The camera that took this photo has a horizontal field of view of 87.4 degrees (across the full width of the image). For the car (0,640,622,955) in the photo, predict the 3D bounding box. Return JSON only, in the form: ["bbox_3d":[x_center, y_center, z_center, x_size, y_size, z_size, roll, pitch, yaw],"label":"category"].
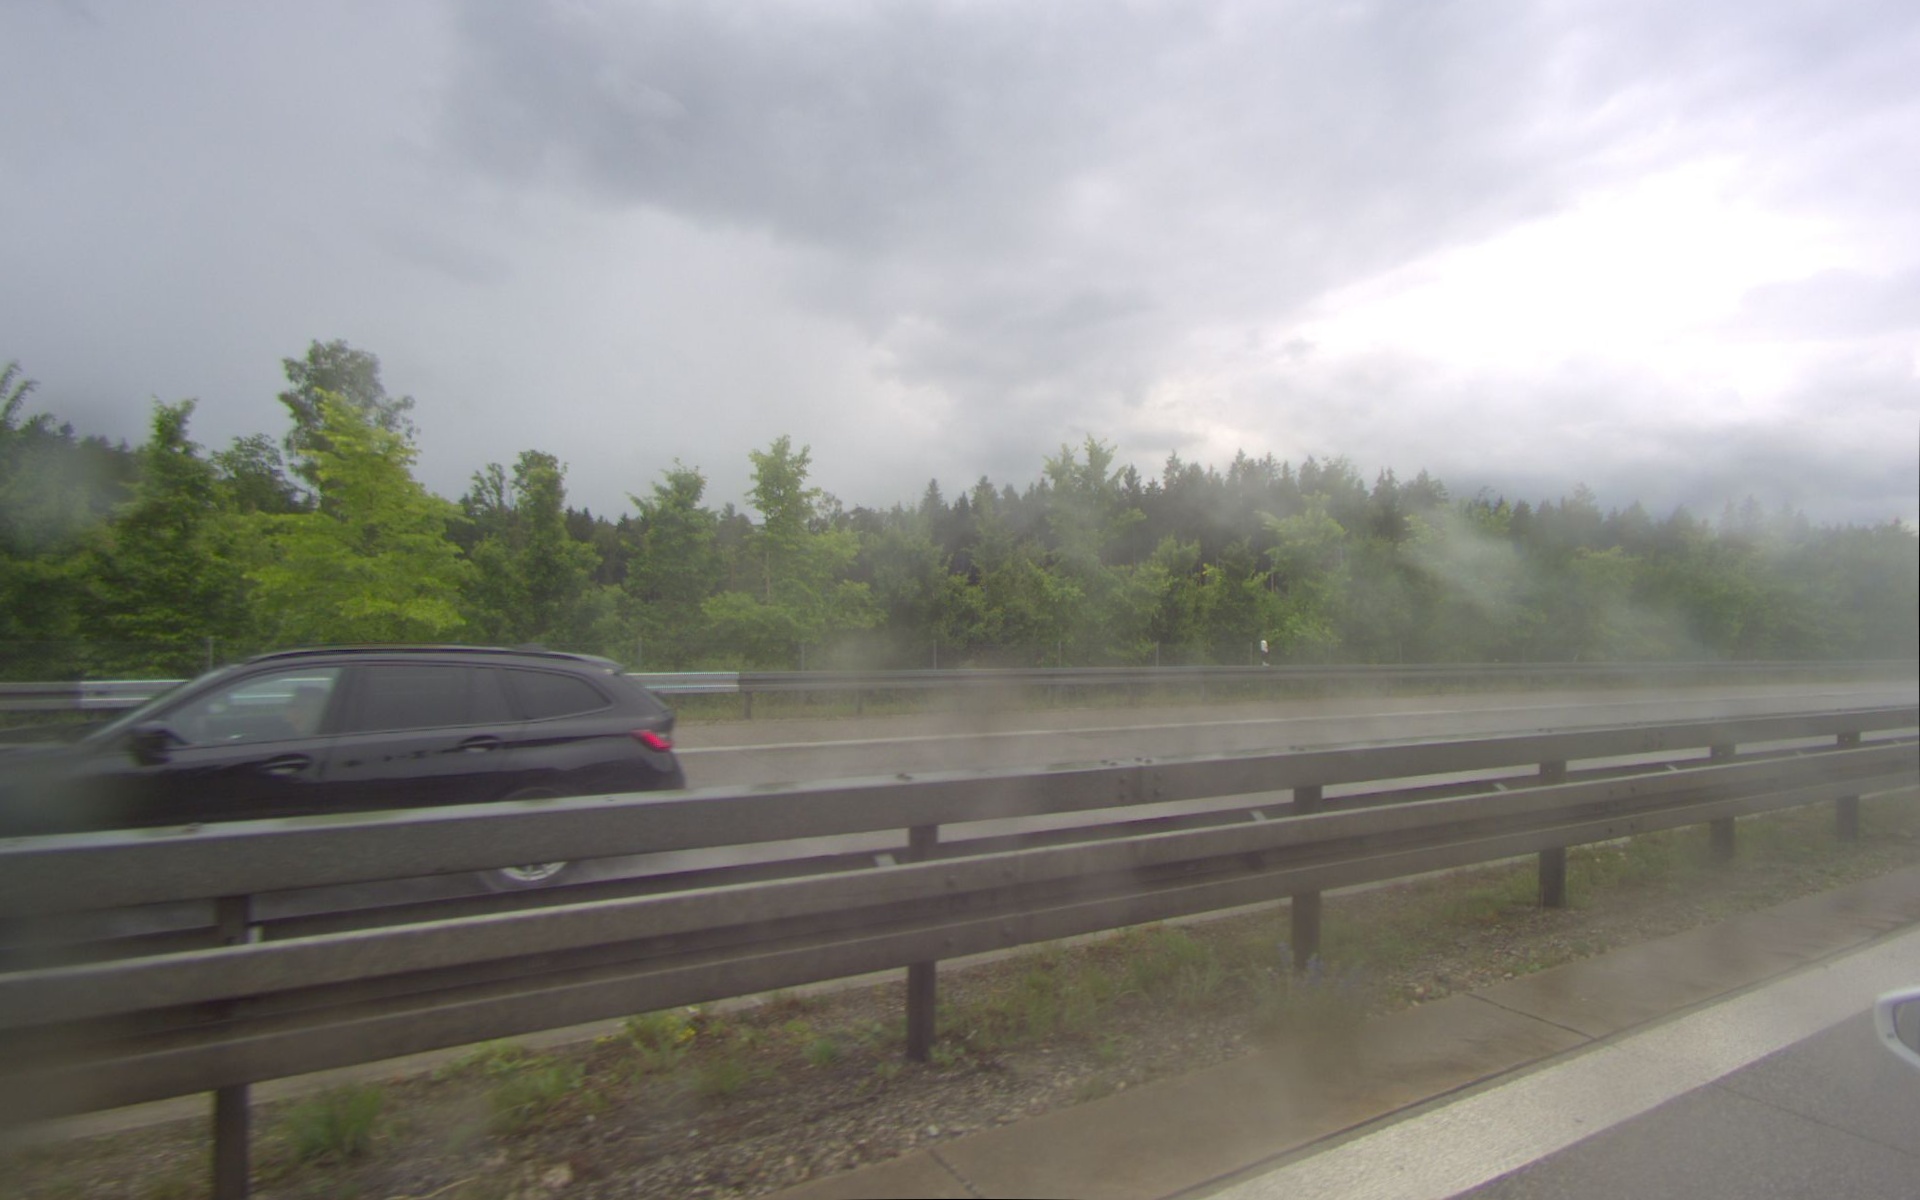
[{"bbox_3d":[-4.096,0.956,5.717,3.886,1.422,1.512,1,-1,-31],"label":"car"}]
